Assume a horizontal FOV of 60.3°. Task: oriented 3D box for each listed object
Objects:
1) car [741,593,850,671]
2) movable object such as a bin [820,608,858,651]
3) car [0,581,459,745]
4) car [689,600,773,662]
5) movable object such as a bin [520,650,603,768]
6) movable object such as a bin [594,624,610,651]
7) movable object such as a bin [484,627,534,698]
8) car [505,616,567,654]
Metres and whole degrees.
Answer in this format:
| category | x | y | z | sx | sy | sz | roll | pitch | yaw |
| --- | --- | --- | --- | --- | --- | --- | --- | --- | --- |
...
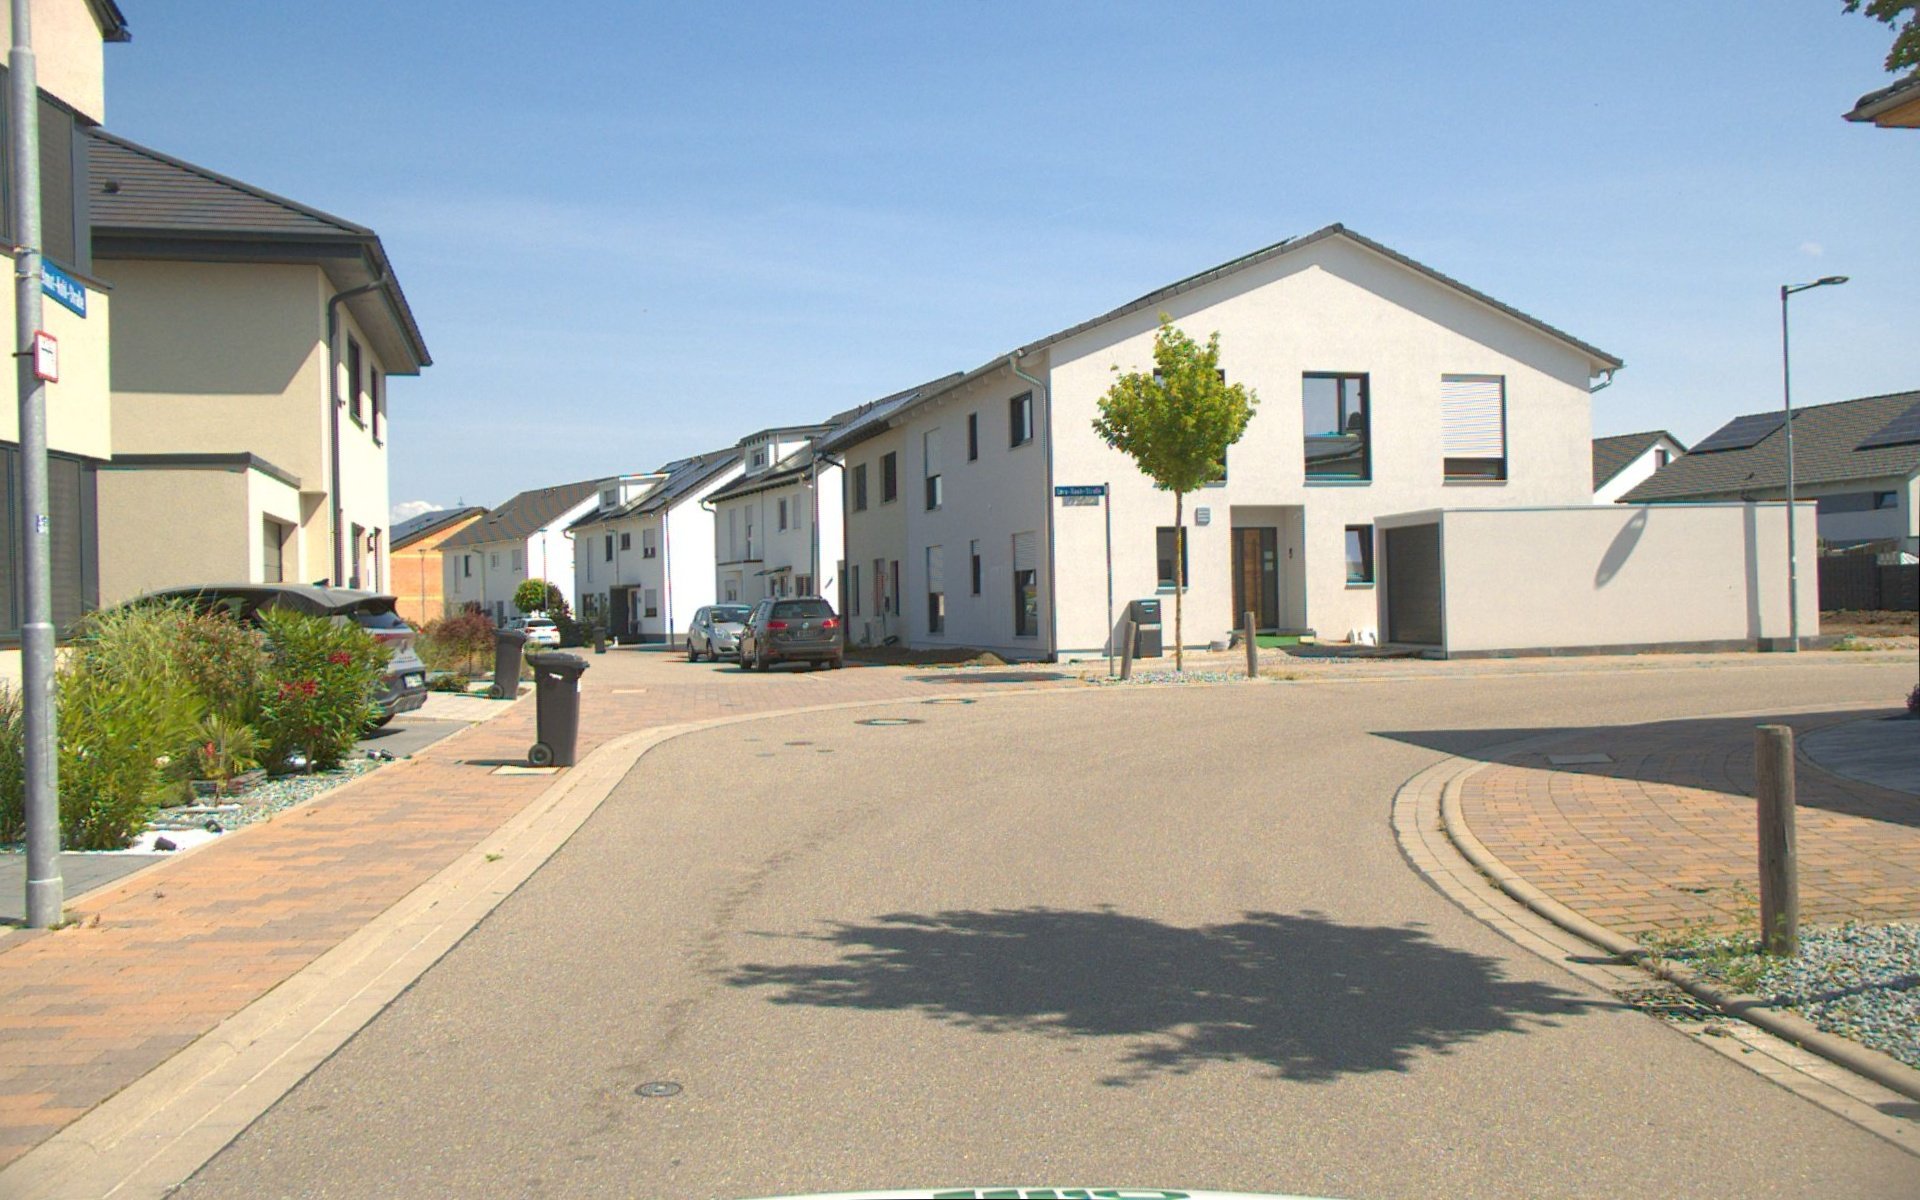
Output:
| category | x | y | z | sx | sy | sz | roll | pitch | yaw |
| --- | --- | --- | --- | --- | --- | --- | --- | --- | --- |
| car | -3.422 | 0.625 | 33.878 | 1.697 | 1.447 | 3.987 | -2 | 0 | -13 |
| movable object such as a bin | -3.176 | 0.766 | 43.468 | 0.772 | 1.068 | 0.800 | -4 | 0 | -18 |
| car | -7.318 | 0.604 | 16.777 | 3.905 | 1.512 | 1.754 | -1 | 0 | 0 |
| car | -6.049 | 0.780 | 43.389 | 1.649 | 1.489 | 3.928 | -2 | 0 | -15 |
| movable object such as a bin | -3.363 | 0.910 | 13.988 | 0.523 | 0.952 | 0.526 | 0 | 0 | 7 |
| movable object such as a bin | -13.476 | 1.414 | 62.326 | 0.549 | 0.965 | 0.245 | -1 | 0 | -20 |
| movable object such as a bin | -6.111 | 0.841 | 22.439 | 0.604 | 0.943 | 0.422 | 2 | -1 | -12 |
| car | -19.446 | 1.607 | 75.726 | 1.761 | 1.624 | 3.960 | -2 | 0 | -29 |
